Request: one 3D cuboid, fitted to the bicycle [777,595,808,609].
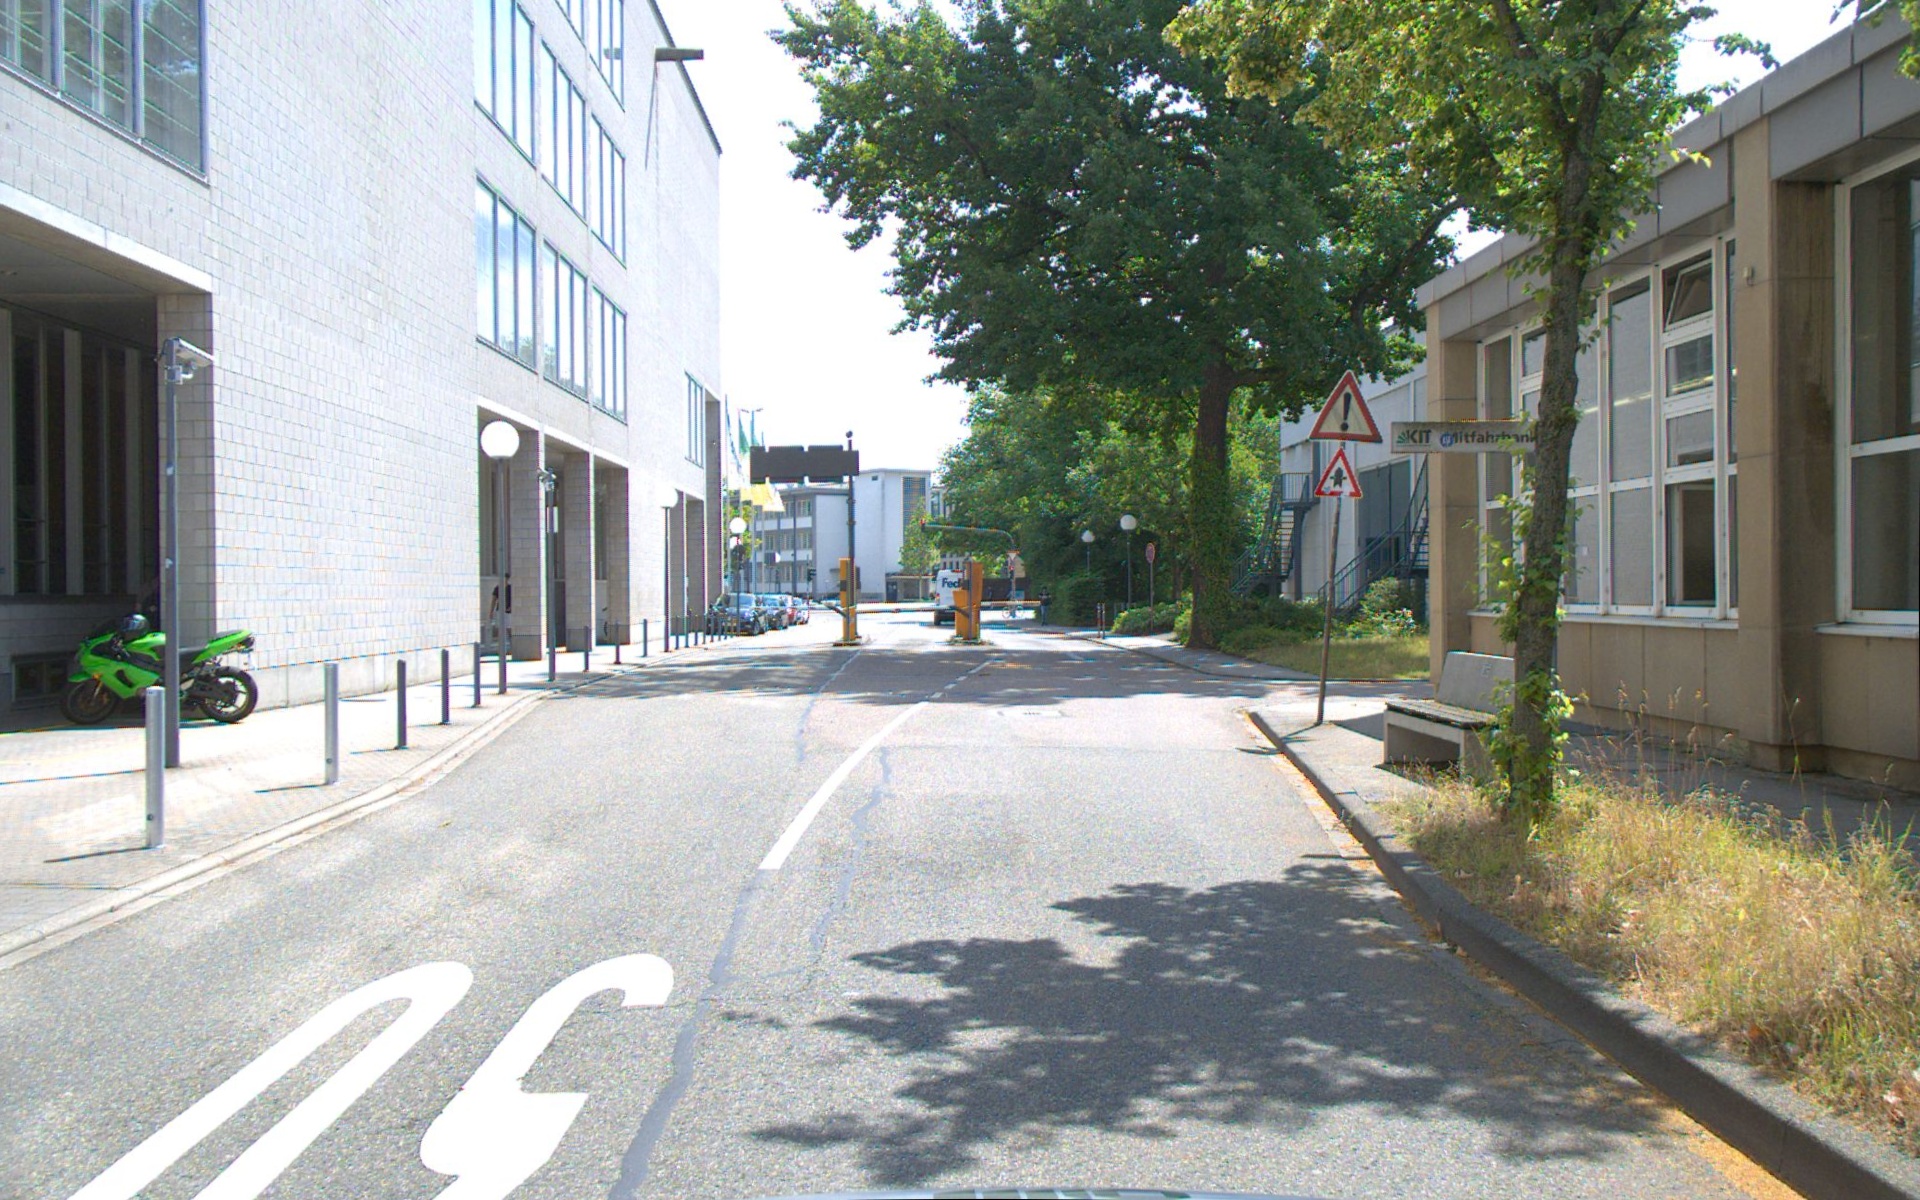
[{"bbox_3d":[-16.686,0.215,164.931,2.937,1.387,1.101,0,0,-40],"label":"bicycle"}]

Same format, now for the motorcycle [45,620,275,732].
[{"bbox_3d":[-8.716,0.807,18.103,2.127,1.158,0.772,0,0,-12],"label":"motorcycle"}]

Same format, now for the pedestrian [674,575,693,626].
[{"bbox_3d":[-13.400,0.034,80.052,0.741,2.464,0.738,-1,0,3],"label":"pedestrian"}]

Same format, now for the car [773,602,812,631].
[{"bbox_3d":[-8.830,0.836,87.537,1.642,1.420,4.661,1,0,-1],"label":"car"}]

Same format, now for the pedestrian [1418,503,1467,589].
[{"bbox_3d":[11.825,-1.308,40.554,0.907,2.049,0.950,-1,0,2],"label":"pedestrian"}]

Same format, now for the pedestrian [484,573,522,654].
[{"bbox_3d":[-10.966,0.321,39.745,0.716,1.913,0.719,0,0,-2],"label":"pedestrian"}]

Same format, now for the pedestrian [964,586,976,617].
[{"bbox_3d":[0.602,0.088,100.082,0.752,1.892,0.722,-1,0,0],"label":"pedestrian"}]

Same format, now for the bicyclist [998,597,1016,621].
[{"bbox_3d":[2.949,0.549,103.957,0.886,1.521,0.654,0,0,-42],"label":"bicyclist"}]

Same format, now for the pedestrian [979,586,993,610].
[{"bbox_3d":[2.070,-0.179,131.397,1.059,1.903,0.832,-1,0,-3],"label":"pedestrian"}]

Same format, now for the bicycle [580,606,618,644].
[{"bbox_3d":[-10.559,0.722,48.423,0.814,1.088,2.468,0,0,-6],"label":"bicycle"}]

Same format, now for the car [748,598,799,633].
[{"bbox_3d":[-8.013,0.642,71.470,1.822,1.402,5.014,1,0,-2],"label":"car"}]

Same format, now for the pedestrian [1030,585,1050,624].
[{"bbox_3d":[3.528,0.204,72.817,0.725,1.704,1.255,-1,0,-5],"label":"pedestrian"}]

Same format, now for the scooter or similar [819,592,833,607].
[{"bbox_3d":[-10.766,-0.058,132.818,0.704,1.199,2.717,-1,0,-12],"label":"scooter or similar"}]

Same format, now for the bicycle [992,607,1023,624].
[{"bbox_3d":[3.002,0.978,104.009,2.089,1.013,0.668,0,0,-42],"label":"bicycle"}]

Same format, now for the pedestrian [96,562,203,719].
[{"bbox_3d":[-9.835,0.479,20.104,0.786,1.836,0.924,-2,0,-2],"label":"pedestrian"}]

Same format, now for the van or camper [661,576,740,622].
[{"bbox_3d":[-19.627,-0.088,125.283,5.599,3.316,2.353,-1,0,-4],"label":"van or camper"}]

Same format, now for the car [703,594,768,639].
[{"bbox_3d":[-8.026,0.558,59.455,1.822,1.493,4.717,1,0,-2],"label":"car"}]

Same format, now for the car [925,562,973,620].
[{"bbox_3d":[-0.552,-0.449,78.755,2.053,2.611,5.600,-1,0,-2],"label":"car"}]
